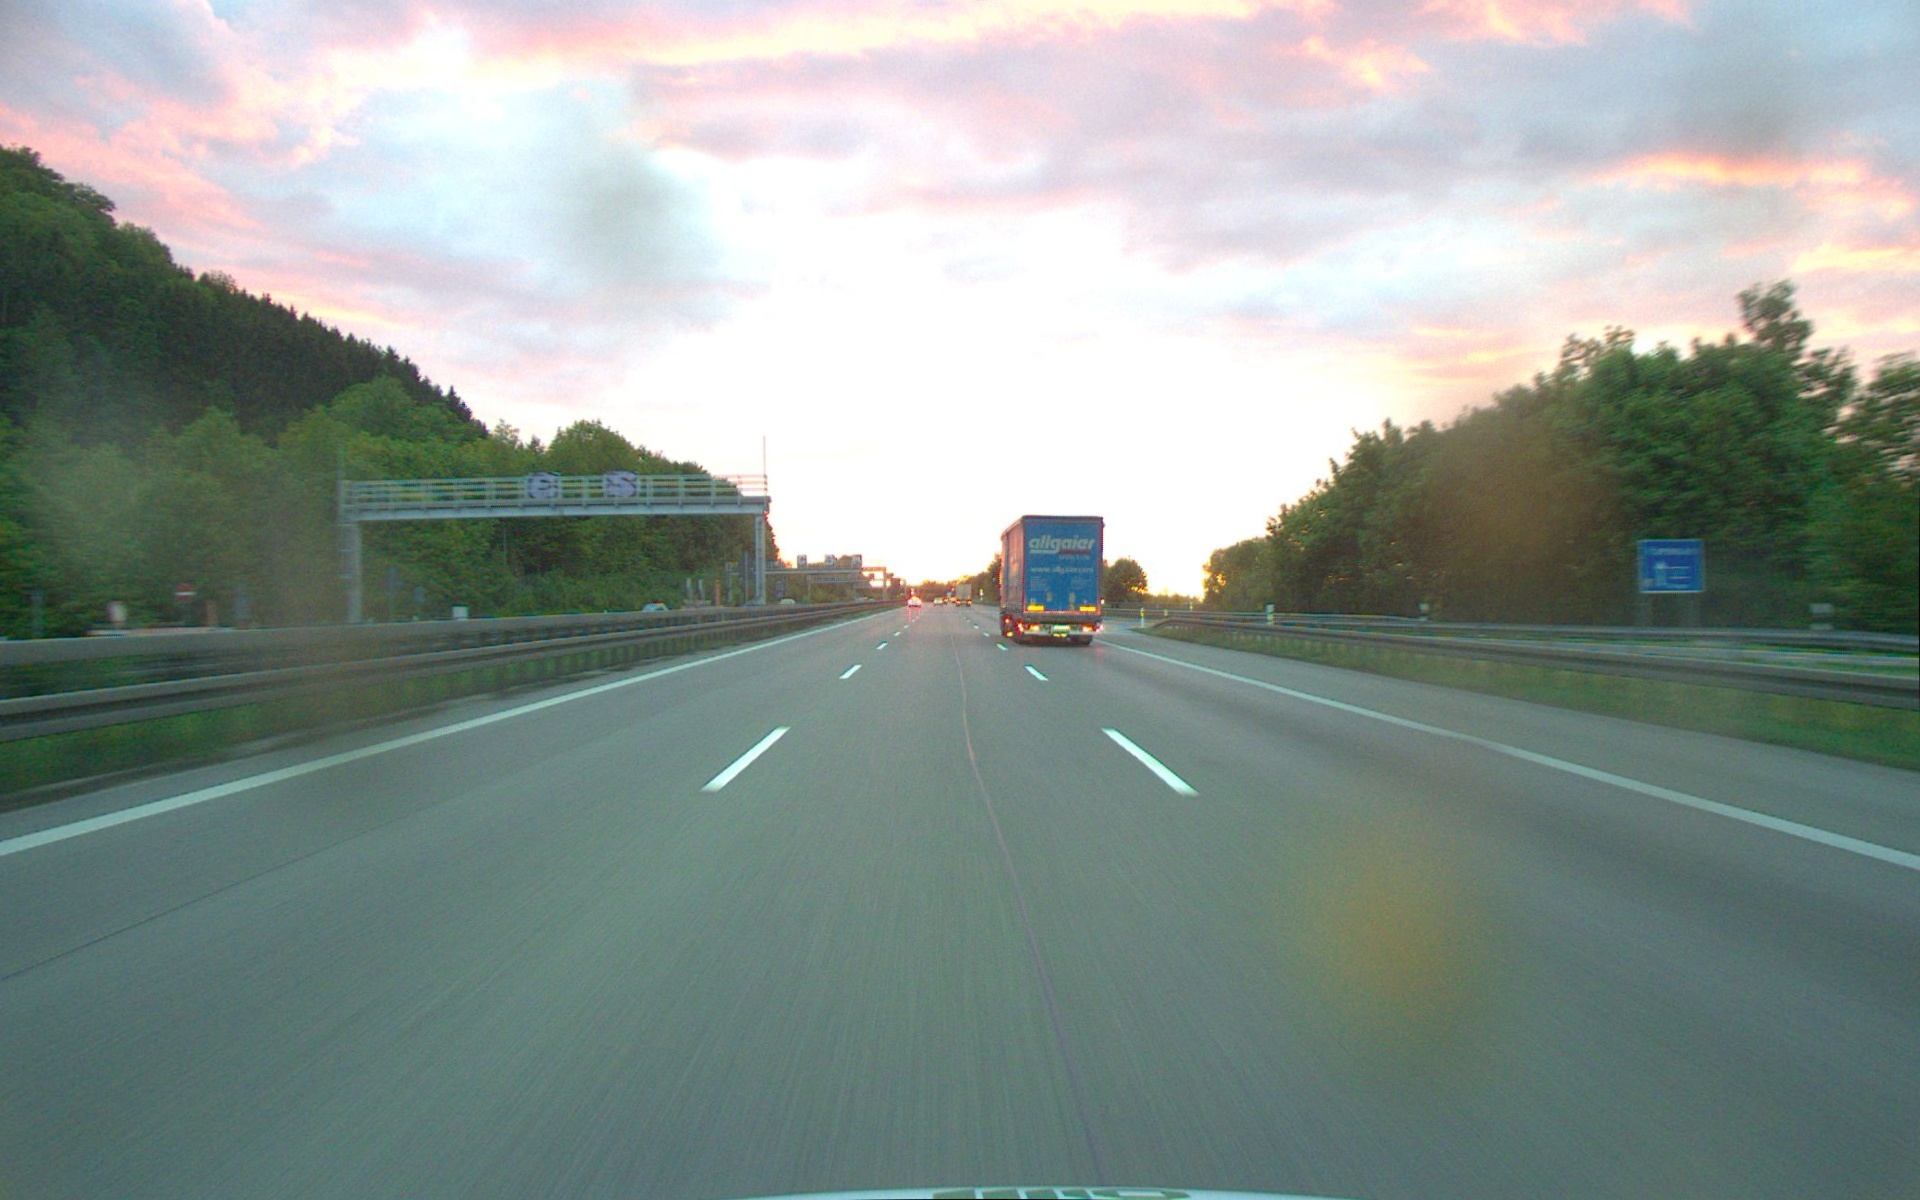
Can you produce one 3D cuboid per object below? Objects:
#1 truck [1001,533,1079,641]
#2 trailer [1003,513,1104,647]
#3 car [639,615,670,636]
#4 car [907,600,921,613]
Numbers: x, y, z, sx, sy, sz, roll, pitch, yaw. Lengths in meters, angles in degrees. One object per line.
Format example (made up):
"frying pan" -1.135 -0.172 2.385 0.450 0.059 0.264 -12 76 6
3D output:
"truck" 3.075 -0.479 65.113 2.681 4.066 5.848 0 0 -1
"trailer" 3.094 -0.604 58.459 2.715 4.158 13.737 0 0 0
"car" -21.445 1.796 116.130 1.608 1.446 3.535 0 0 -1
"car" -6.652 0.989 240.117 1.972 1.780 3.902 -4 0 -1
